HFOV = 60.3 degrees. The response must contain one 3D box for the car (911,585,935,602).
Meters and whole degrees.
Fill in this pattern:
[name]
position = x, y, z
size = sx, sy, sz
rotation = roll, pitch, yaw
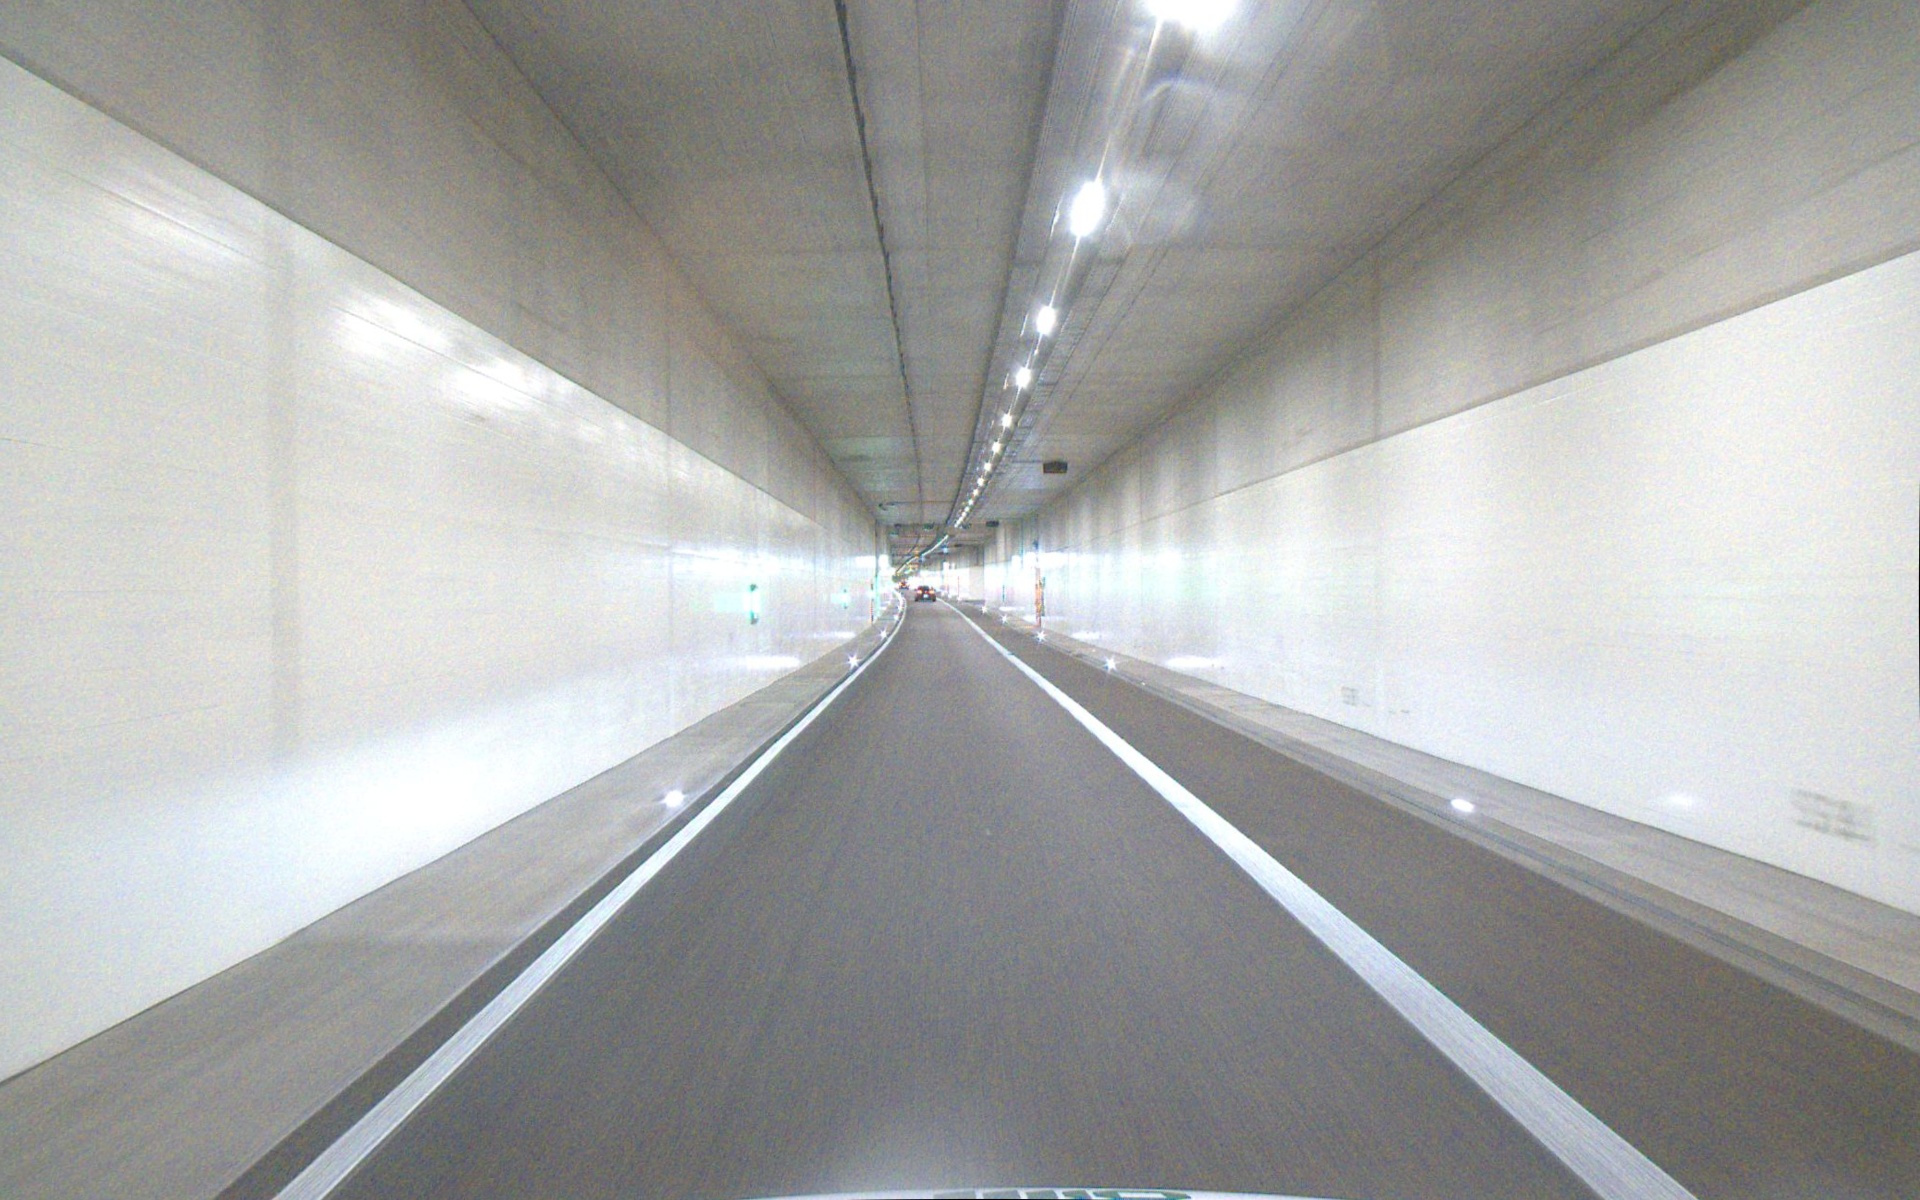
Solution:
[car]
position = -3.290, -0.576, 147.029
size = 1.954, 1.445, 3.998
rotation = 1, 1, -3
